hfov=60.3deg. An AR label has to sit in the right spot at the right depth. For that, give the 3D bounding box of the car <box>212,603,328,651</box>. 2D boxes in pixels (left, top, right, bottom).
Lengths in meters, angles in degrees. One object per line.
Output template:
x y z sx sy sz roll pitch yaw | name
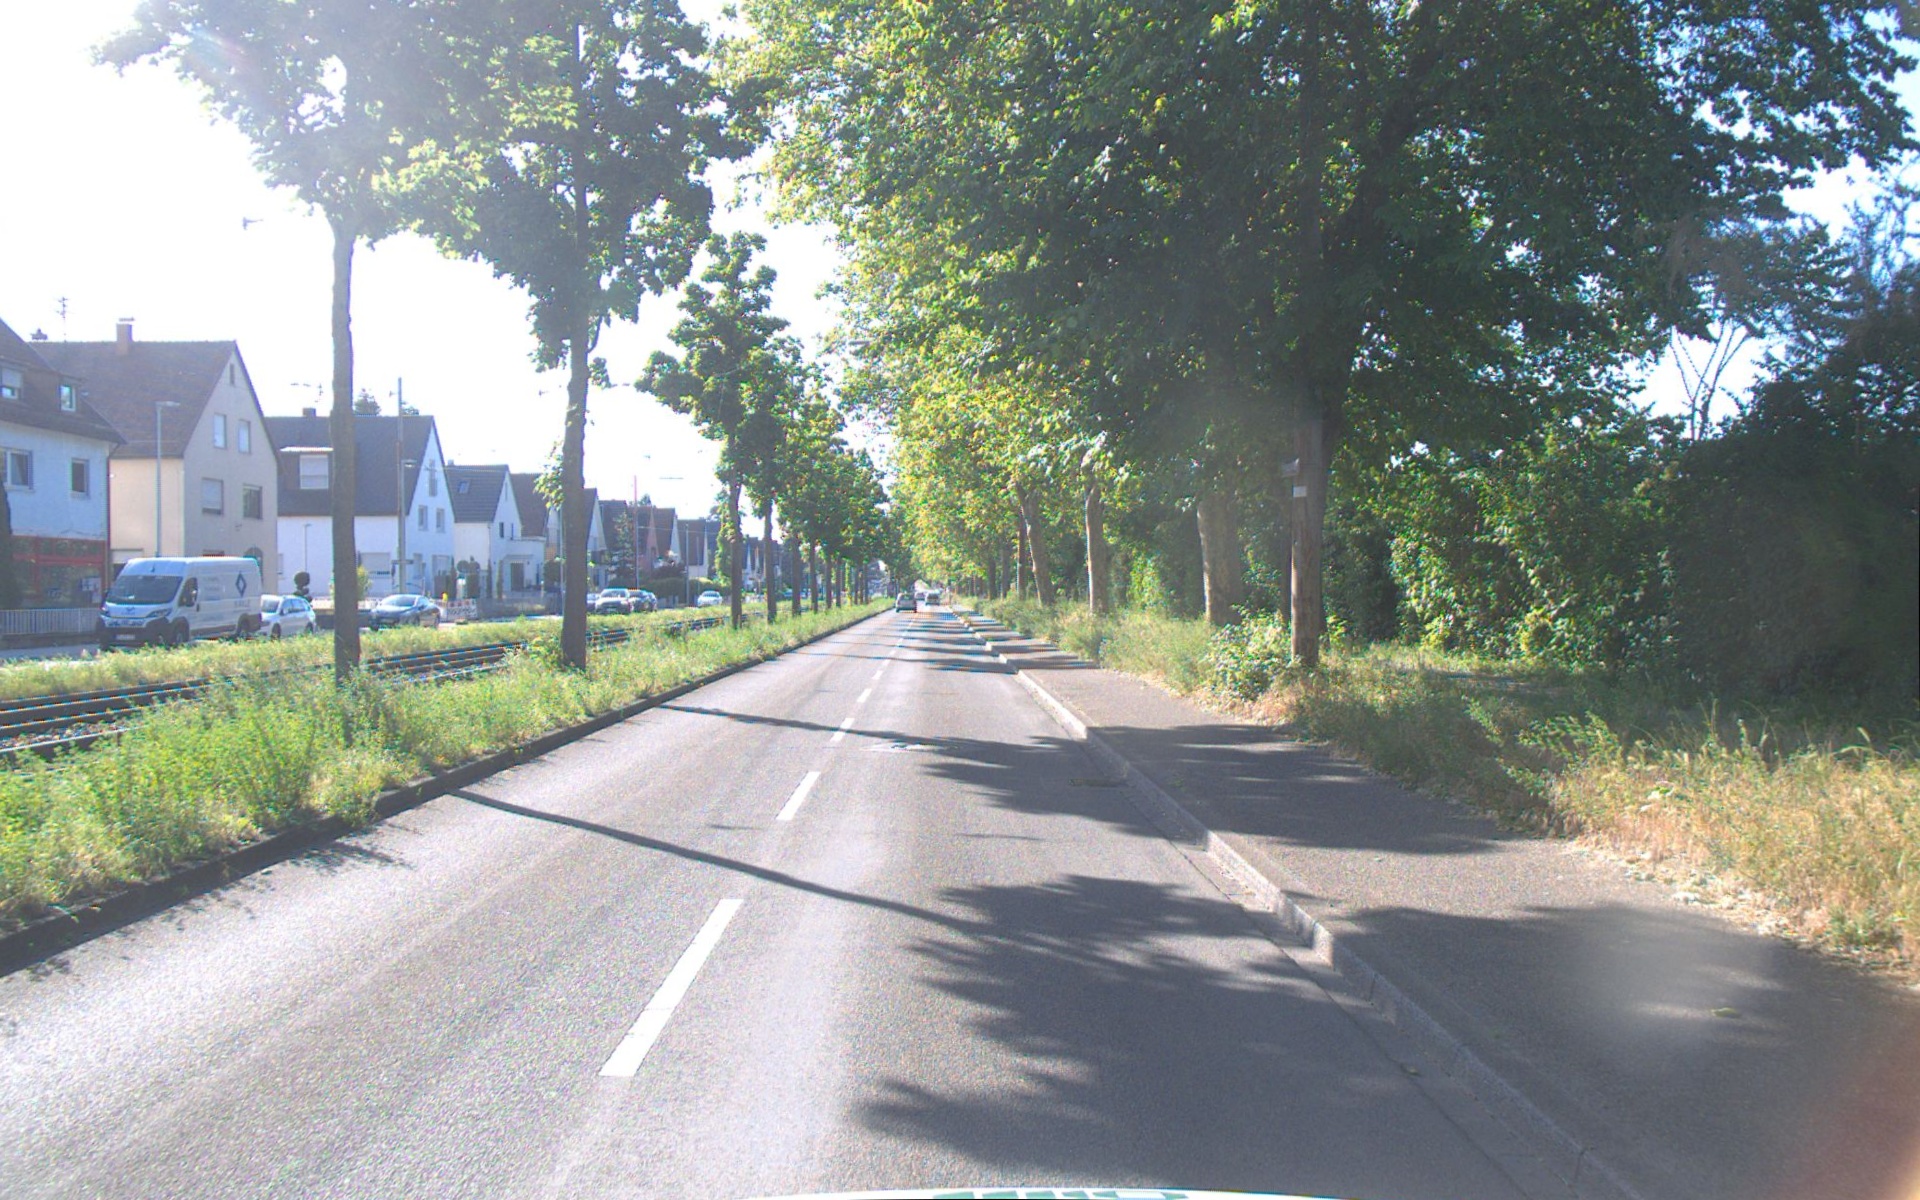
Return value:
-21.607 0.813 52.001 1.787 1.437 4.656 0 0 -2 | car

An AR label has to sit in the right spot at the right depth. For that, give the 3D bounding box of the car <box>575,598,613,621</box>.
-22.873 0.589 103.426 1.463 1.349 4.000 0 0 0 | car

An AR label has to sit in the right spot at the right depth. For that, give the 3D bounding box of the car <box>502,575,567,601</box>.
-28.629 -0.805 111.347 3.909 1.699 1.998 0 0 -5 | car

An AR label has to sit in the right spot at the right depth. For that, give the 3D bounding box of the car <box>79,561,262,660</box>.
-21.524 0.278 45.485 1.953 2.502 6.672 0 0 -1 | car

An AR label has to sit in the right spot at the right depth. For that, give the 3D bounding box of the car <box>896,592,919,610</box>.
-4.009 0.078 127.216 1.703 1.425 3.276 0 0 -1 | car

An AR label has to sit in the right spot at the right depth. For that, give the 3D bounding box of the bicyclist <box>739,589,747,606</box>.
-21.481 -0.203 163.852 0.674 1.681 0.881 0 0 -1 | bicyclist

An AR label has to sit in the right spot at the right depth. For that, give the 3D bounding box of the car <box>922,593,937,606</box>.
-3.582 -0.083 192.575 1.725 1.539 3.276 0 0 0 | car

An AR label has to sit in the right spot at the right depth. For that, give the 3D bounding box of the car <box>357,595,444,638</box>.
-22.116 0.612 65.543 1.953 1.609 4.497 0 1 0 | car

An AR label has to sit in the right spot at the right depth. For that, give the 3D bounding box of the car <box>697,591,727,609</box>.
-23.909 0.007 159.411 1.952 1.627 4.733 0 0 2 | car

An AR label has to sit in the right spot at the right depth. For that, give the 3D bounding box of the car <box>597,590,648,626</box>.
-18.483 0.443 90.781 1.876 1.916 4.523 0 0 0 | car

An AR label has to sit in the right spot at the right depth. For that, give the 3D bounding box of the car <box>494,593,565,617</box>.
-27.646 0.339 106.307 4.131 1.489 1.936 0 0 -5 | car
